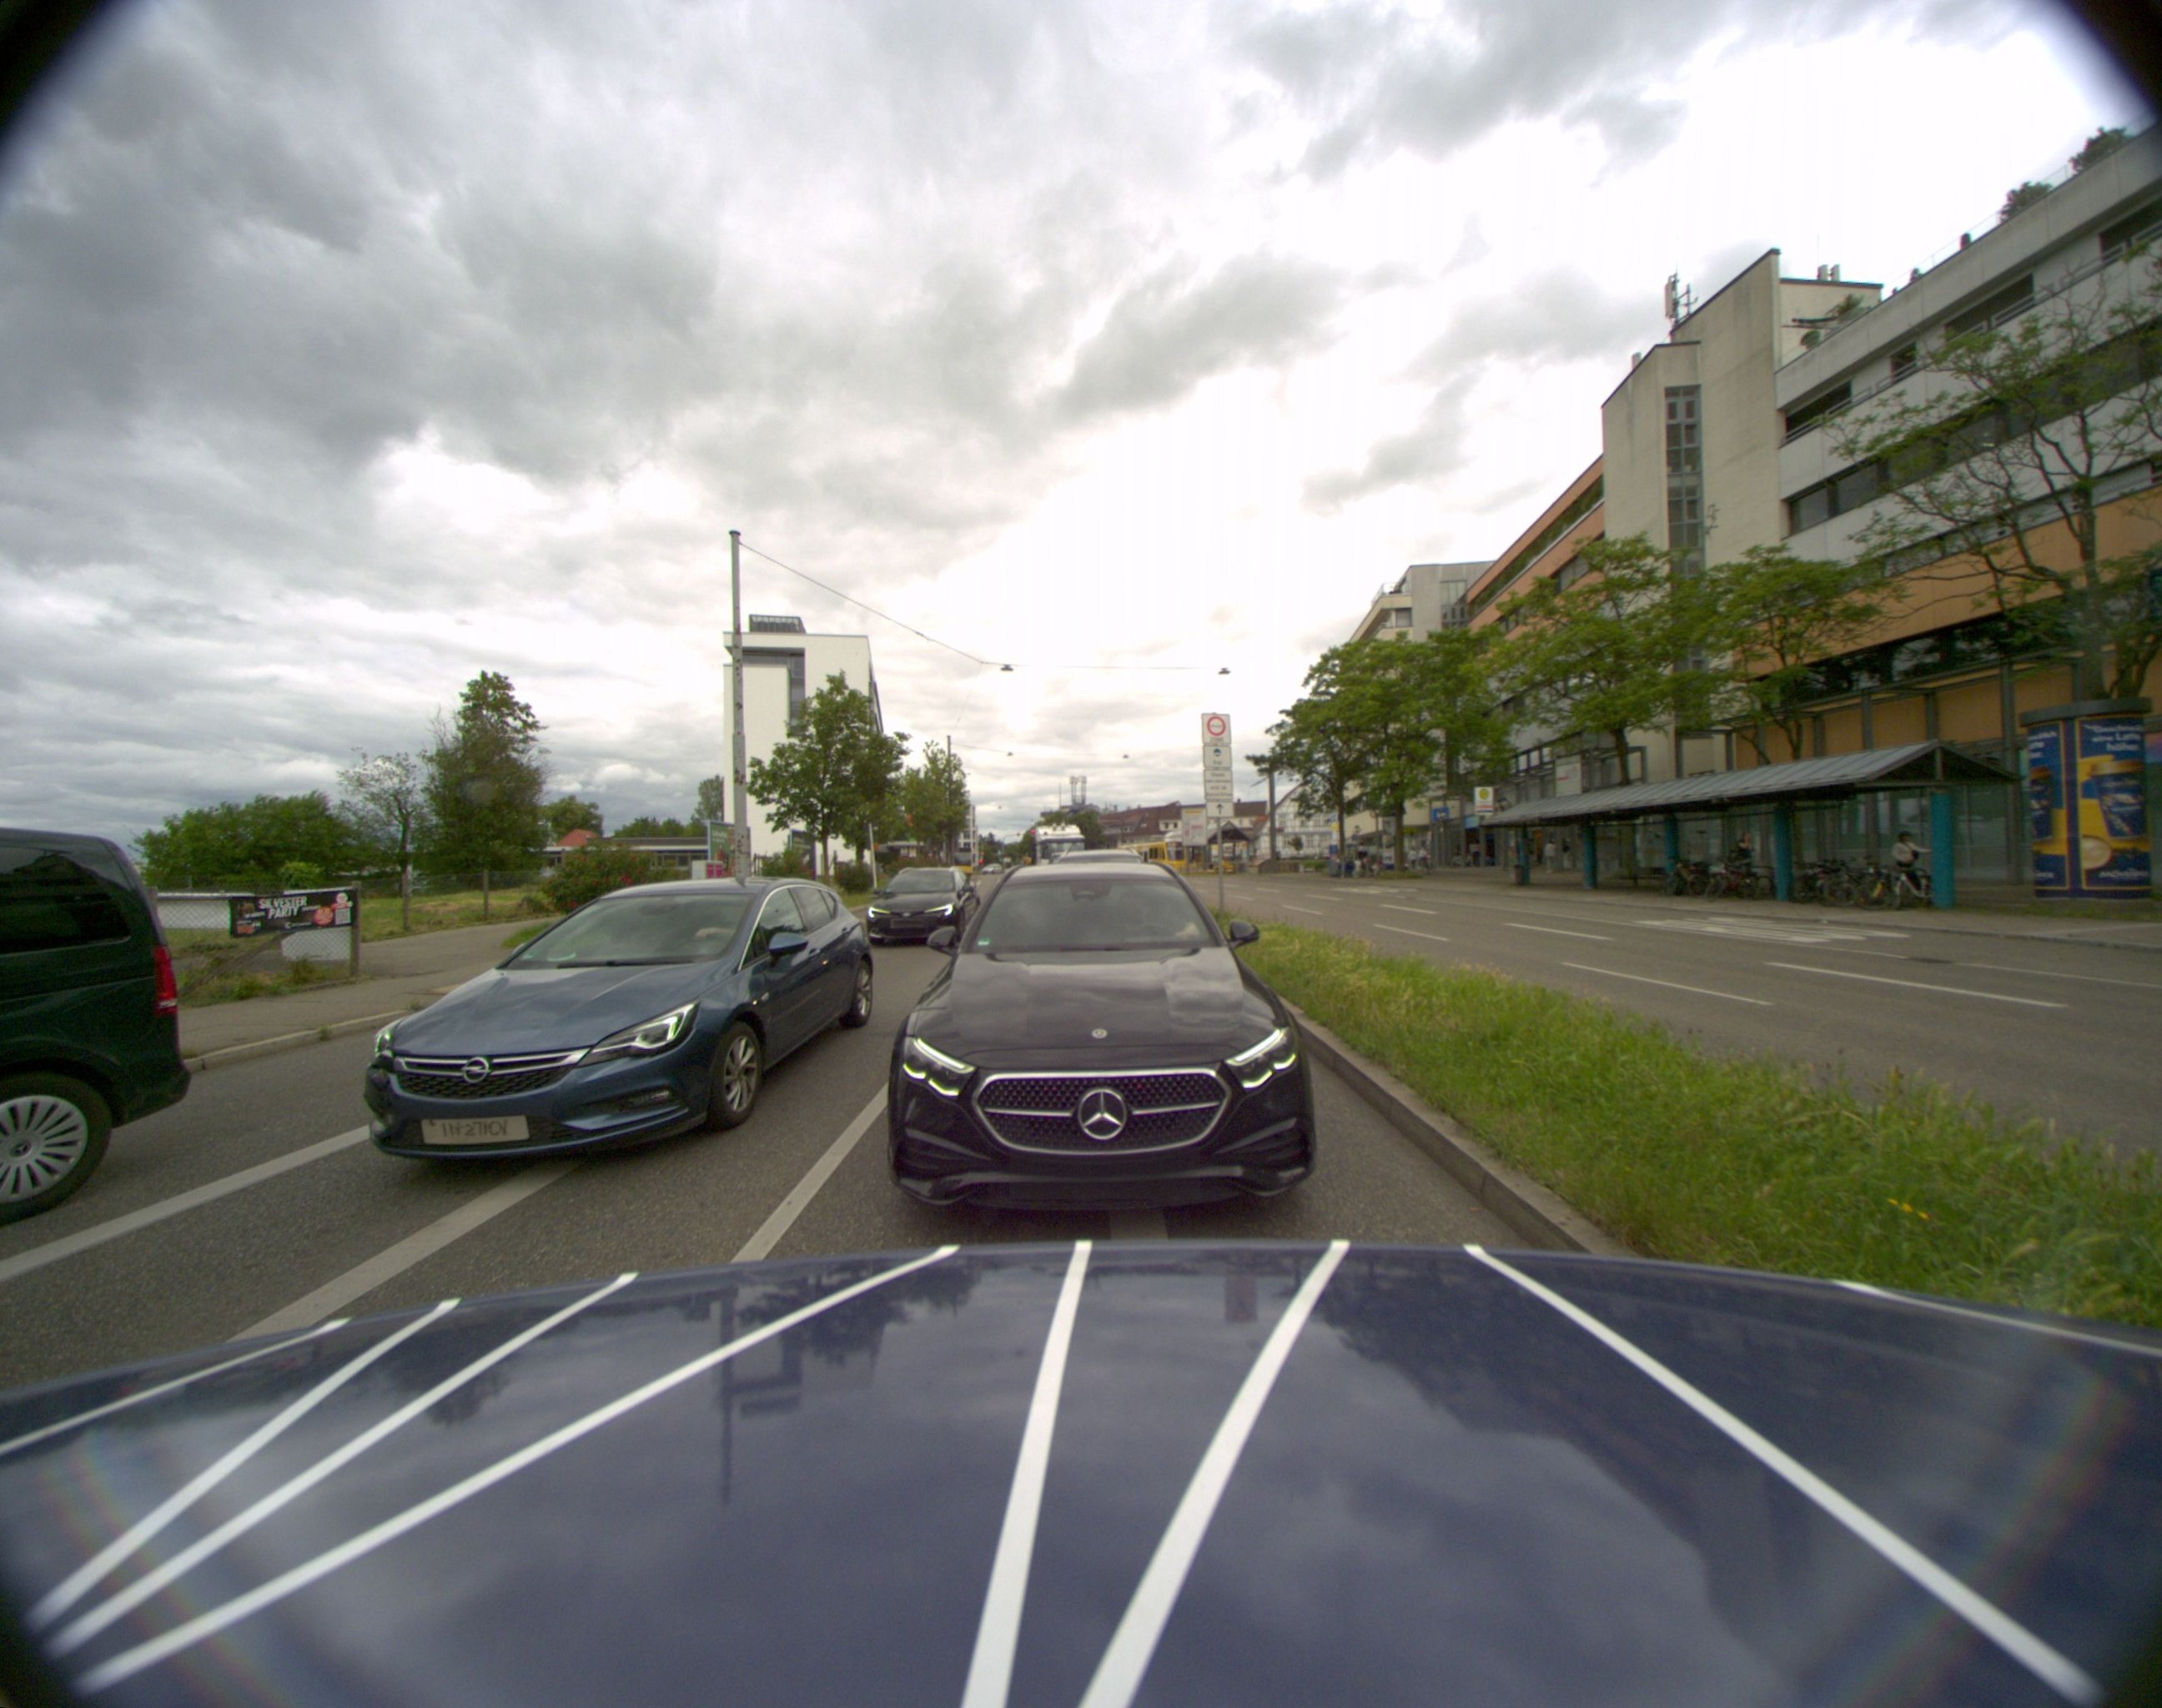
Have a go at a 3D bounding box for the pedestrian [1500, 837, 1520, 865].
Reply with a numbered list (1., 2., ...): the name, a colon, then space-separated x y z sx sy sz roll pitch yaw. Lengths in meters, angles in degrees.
1. pedestrian: 25.401 -0.172 45.011 0.765 1.673 0.752 -1 1 1

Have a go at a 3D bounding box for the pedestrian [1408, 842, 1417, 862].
1. pedestrian: 25.141 -0.126 57.599 0.555 1.485 0.454 -1 1 8

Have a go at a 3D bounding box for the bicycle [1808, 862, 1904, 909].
1. bicycle: 18.630 0.748 18.280 1.735 1.035 0.549 -3 1 -2

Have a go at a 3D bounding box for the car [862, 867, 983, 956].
1. car: -3.073 1.053 15.515 1.665 1.448 3.921 -2 0 -1

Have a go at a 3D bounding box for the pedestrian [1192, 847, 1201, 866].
1. pedestrian: 12.080 0.235 79.627 0.637 2.002 0.667 -1 1 -20

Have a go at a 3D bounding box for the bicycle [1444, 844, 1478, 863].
1. bicycle: 27.764 -0.031 55.548 2.138 1.358 0.620 -2 1 26

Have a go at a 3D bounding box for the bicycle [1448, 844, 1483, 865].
1. bicycle: 27.001 0.026 53.396 2.139 1.367 0.620 -2 1 18

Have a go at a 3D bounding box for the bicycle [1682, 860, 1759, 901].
1. bicycle: 18.288 0.740 21.740 1.735 1.035 0.549 -4 1 -2

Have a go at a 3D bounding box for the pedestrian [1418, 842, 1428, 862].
1. pedestrian: 25.792 -0.149 57.282 0.555 1.485 0.454 -1 1 8

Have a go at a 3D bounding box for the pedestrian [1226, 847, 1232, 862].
1. pedestrian: 19.378 0.094 99.346 0.742 2.002 0.939 -1 1 11

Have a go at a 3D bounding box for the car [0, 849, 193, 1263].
1. car: -5.808 0.947 1.714 1.954 1.829 4.709 -3 0 1

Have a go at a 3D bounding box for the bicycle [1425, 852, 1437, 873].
1. bicycle: 19.493 0.465 42.382 0.593 1.119 2.040 0 1 24

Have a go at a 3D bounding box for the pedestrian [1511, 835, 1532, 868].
1. pedestrian: 24.789 -0.122 42.751 0.765 1.835 0.752 -1 1 1

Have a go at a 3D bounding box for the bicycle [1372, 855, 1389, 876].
1. bicycle: 16.408 0.618 41.643 0.593 1.071 2.041 0 1 29

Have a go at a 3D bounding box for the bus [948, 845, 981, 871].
1. bus: -12.807 0.385 82.726 2.969 2.616 12.137 -2 1 -11

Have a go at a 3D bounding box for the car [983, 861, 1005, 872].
1. car: -14.048 2.054 122.427 1.848 1.607 3.788 -3 0 23

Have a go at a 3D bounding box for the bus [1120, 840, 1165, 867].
1. bus: 6.944 -0.069 87.948 2.556 2.966 9.790 -1 0 -11

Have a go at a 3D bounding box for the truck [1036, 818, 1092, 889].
1. truck: -1.012 -0.053 38.835 2.490 3.258 7.428 -1 0 -4

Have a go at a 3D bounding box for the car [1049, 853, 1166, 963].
1. car: 0.396 0.817 13.481 1.734 1.601 4.000 -2 0 0

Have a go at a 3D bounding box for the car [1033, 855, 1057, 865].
1. car: -6.660 1.059 139.402 3.994 1.674 2.001 -2 1 9

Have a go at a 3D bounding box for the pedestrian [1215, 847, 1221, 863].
1. pedestrian: 18.044 0.128 100.135 0.742 2.002 0.939 -1 1 11

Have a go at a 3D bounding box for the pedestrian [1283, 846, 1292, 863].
1. pedestrian: 23.748 0.042 87.366 0.879 2.002 1.010 -1 1 6

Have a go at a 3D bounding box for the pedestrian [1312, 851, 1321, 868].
1. pedestrian: 22.224 0.517 71.633 0.577 1.533 0.583 -1 1 -8

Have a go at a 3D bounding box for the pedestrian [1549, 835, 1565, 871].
1. pedestrian: 24.105 -0.052 38.485 0.648 1.799 0.761 0 1 34

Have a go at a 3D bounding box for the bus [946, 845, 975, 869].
1. bus: -15.212 0.340 95.050 2.969 2.616 12.911 -2 1 -11

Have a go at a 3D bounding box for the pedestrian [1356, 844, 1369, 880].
1. pedestrian: 18.242 0.514 49.279 0.590 2.294 0.608 -1 1 -2

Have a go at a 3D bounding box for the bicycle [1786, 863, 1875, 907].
1. bicycle: 19.029 0.771 19.305 1.735 1.035 0.549 -2 1 -2

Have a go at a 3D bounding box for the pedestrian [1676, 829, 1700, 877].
1. pedestrian: 25.858 -0.053 32.355 0.566 2.002 0.611 -1 1 6

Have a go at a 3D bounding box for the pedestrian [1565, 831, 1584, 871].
1. pedestrian: 25.510 -0.155 39.282 0.566 2.002 0.611 -1 1 6

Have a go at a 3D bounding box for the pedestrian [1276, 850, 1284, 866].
1. pedestrian: 19.827 0.375 75.879 0.577 1.533 0.583 -1 1 -8

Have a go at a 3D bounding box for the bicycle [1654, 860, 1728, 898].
1. bicycle: 18.209 0.744 22.700 1.735 1.035 0.549 -3 1 -2

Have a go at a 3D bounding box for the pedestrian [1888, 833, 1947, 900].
1. pedestrian: 21.259 0.306 19.322 0.678 1.640 0.721 -2 1 -3

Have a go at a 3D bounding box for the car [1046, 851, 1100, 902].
1. car: -0.361 0.772 28.344 1.865 1.773 3.999 -1 0 -2

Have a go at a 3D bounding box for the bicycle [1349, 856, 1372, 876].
1. bicycle: 15.485 0.651 42.014 0.593 1.071 2.041 0 1 38

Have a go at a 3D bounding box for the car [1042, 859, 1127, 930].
1. car: 0.049 0.907 18.907 1.865 1.520 3.999 -1 0 -1

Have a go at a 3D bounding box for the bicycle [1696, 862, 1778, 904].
1. bicycle: 17.952 0.786 20.807 1.735 1.035 0.549 -3 1 -2

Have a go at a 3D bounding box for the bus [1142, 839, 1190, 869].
1. bus: 8.708 -0.001 79.012 2.556 2.966 8.498 -1 0 -11

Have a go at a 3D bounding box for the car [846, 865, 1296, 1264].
1. car: -0.050 0.881 5.188 1.793 1.507 4.249 -1 0 0

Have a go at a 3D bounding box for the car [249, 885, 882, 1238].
1. car: -2.910 1.046 5.525 1.826 1.402 4.000 -2 0 0

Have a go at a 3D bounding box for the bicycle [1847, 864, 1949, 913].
1. bicycle: 18.689 0.781 17.395 1.735 1.035 0.549 -2 1 -2

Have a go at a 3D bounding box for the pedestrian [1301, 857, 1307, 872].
1. pedestrian: 18.284 0.845 62.380 0.341 1.172 0.369 -1 1 -9

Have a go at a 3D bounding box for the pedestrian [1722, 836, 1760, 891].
1. pedestrian: 21.598 0.309 24.875 0.531 1.776 0.770 -1 1 -7
